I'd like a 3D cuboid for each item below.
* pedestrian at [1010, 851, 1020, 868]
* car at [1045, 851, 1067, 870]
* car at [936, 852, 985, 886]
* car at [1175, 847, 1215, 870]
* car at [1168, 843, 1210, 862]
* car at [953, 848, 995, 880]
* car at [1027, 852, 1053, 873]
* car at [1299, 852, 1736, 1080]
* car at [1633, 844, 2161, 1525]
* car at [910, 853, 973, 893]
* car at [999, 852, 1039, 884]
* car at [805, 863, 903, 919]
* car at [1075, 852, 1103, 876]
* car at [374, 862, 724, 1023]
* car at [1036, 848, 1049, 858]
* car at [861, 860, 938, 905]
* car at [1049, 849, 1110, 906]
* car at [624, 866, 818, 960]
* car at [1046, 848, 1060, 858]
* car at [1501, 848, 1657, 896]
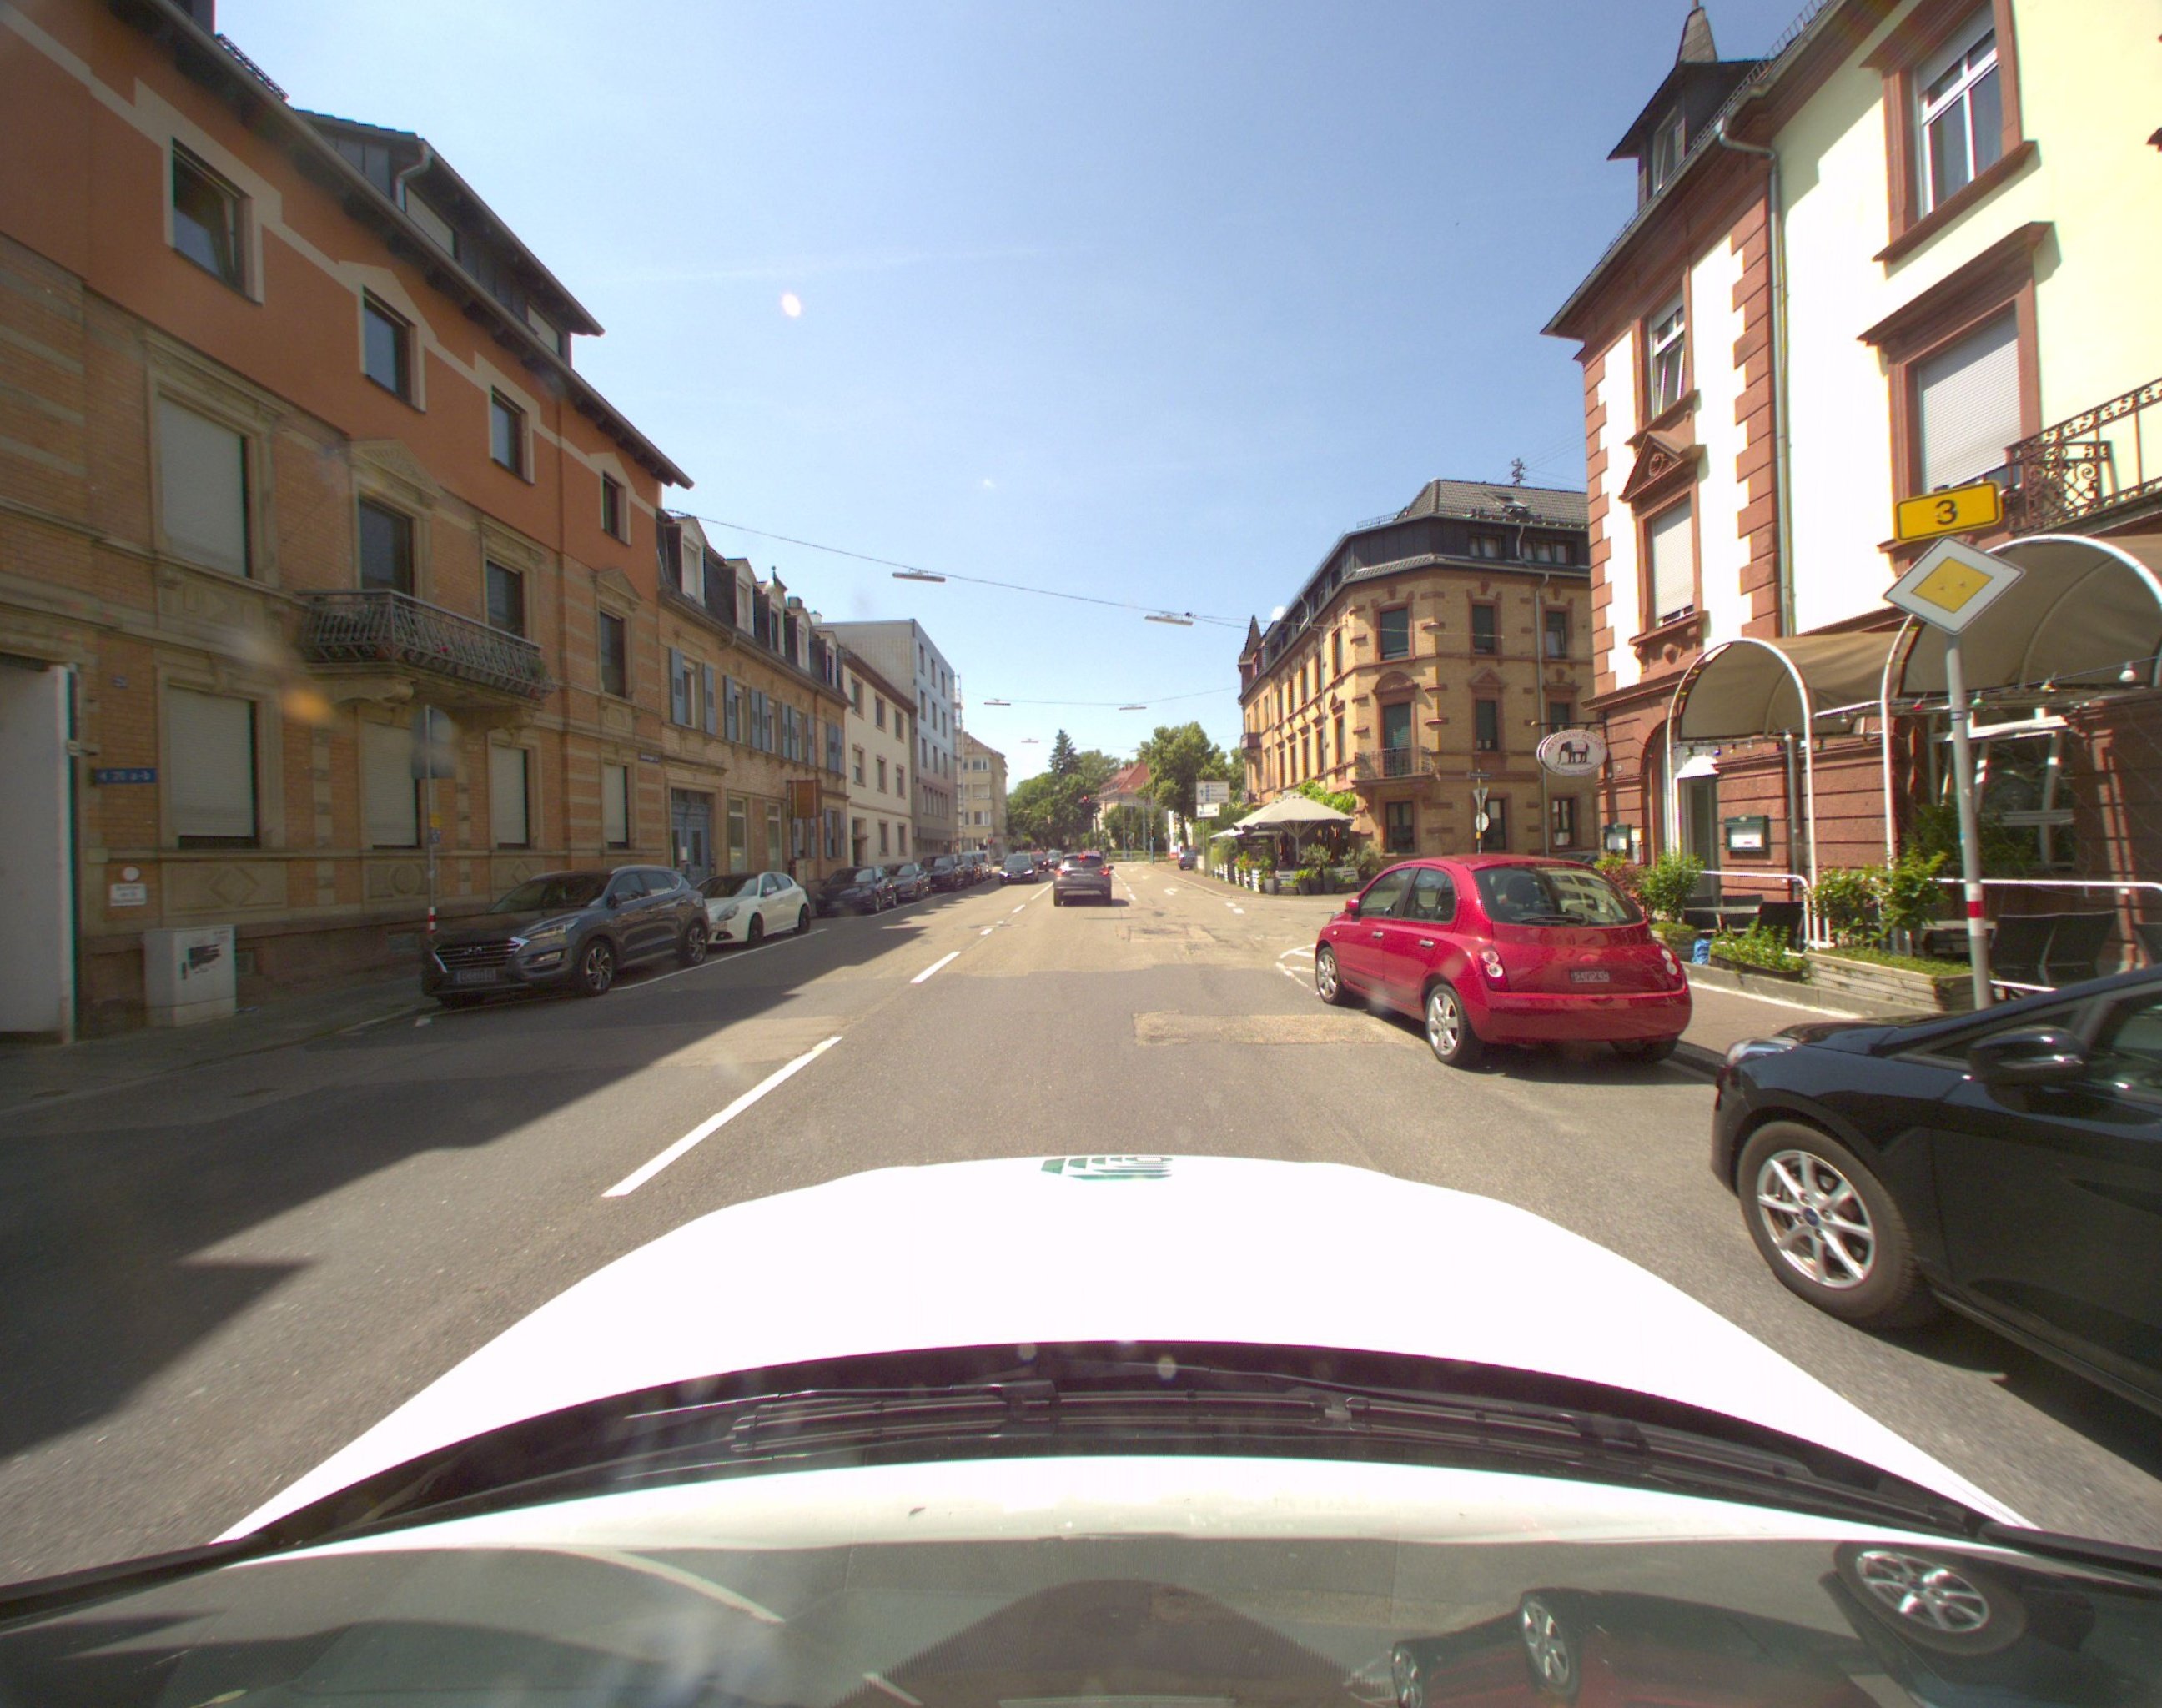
[{"bbox_3d":[-7.735,0.645,95.489,0.935,1.931,0.973,-1,0,-12],"label":"pedestrian"},{"bbox_3d":[-2.185,0.549,72.869,1.695,1.574,4.313,-2,0,1],"label":"car"},{"bbox_3d":[-6.389,0.752,43.684,1.879,1.641,4.661,-3,0,-1],"label":"car"},{"bbox_3d":[8.730,0.314,61.949,1.818,1.548,5.184,-2,1,21],"label":"car"},{"bbox_3d":[11.713,-0.162,88.242,4.526,1.977,1.976,-2,0,-41],"label":"car"},{"bbox_3d":[-6.530,0.590,49.979,1.908,1.825,4.787,-3,0,-1],"label":"car"},{"bbox_3d":[-3.117,0.652,62.465,1.695,1.478,4.134,-2,0,1],"label":"car"},{"bbox_3d":[3.371,0.732,7.210,1.753,1.479,3.781,1,0,-2],"label":"car"},{"bbox_3d":[3.224,0.728,1.587,1.750,1.479,3.933,1,0,2],"label":"car"},{"bbox_3d":[-6.358,0.820,37.529,1.878,1.641,4.819,-3,0,1],"label":"car"},{"bbox_3d":[-3.203,0.698,42.948,1.754,1.494,4.245,-2,0,0],"label":"car"},{"bbox_3d":[-6.893,1.065,25.171,1.860,1.406,4.327,-5,0,-2],"label":"car"},{"bbox_3d":[0.576,0.660,55.025,1.792,1.558,4.039,0,0,2],"label":"car"},{"bbox_3d":[-7.005,1.014,11.463,1.859,1.627,4.499,-5,0,0],"label":"car"},{"bbox_3d":[-7.818,-0.191,166.336,1.995,1.906,3.984,0,0,-12],"label":"car"},{"bbox_3d":[-6.754,1.002,30.822,1.860,1.406,4.834,-5,0,-2],"label":"car"},{"bbox_3d":[0.023,0.668,25.603,1.747,1.632,4.002,0,0,2],"label":"car"},{"bbox_3d":[-7.043,1.075,16.514,1.859,1.426,4.331,-5,0,1],"label":"car"},{"bbox_3d":[-5.276,-0.206,153.149,1.995,1.807,3.984,0,0,-12],"label":"car"},{"bbox_3d":[15.790,0.545,25.922,3.987,1.365,1.910,-1,0,-10],"label":"car"}]
